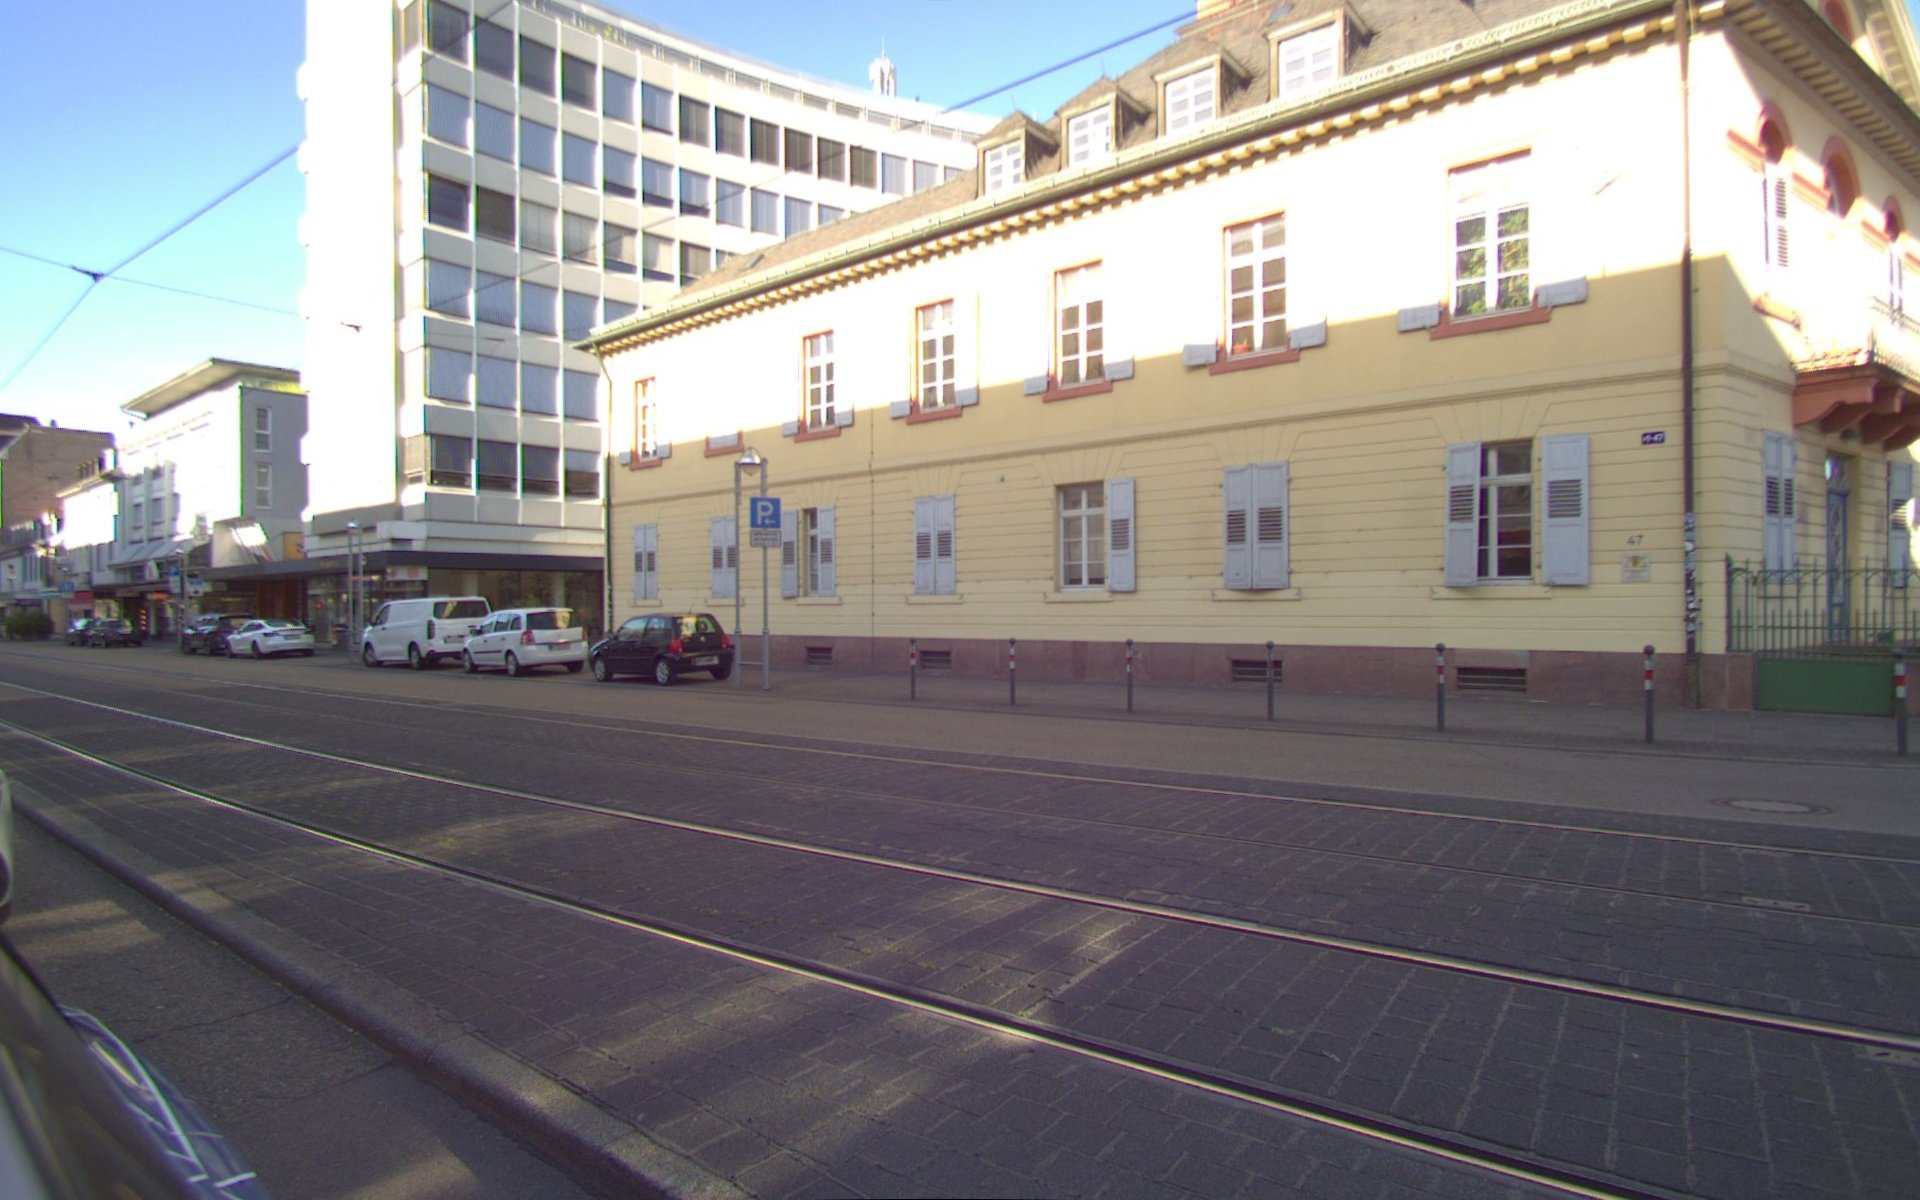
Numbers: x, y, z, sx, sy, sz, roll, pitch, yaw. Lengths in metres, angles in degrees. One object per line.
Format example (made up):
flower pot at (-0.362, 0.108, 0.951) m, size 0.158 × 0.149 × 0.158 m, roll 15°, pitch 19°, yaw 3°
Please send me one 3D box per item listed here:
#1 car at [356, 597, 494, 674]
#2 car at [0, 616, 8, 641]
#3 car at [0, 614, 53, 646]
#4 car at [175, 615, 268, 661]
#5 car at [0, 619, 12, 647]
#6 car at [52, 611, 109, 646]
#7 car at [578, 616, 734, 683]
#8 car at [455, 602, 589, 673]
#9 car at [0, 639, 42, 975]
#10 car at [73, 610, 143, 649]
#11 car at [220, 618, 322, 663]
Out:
car at (-15.361, 0.971, 28.957) m, size 4.619 × 2.029 × 2.014 m, roll -1°, pitch -1°, yaw 41°
car at (-78.853, 2.329, 81.944) m, size 3.995 × 2.029 × 1.974 m, roll -1°, pitch 0°, yaw 38°
car at (-62.852, 2.008, 68.034) m, size 3.996 × 2.058 × 2.172 m, roll -1°, pitch -1°, yaw 39°
car at (-29.915, 1.492, 40.969) m, size 4.103 × 1.717 × 1.975 m, roll -1°, pitch 0°, yaw 38°
car at (-71.250, 2.416, 74.329) m, size 3.998 × 2.029 × 1.973 m, roll -1°, pitch -1°, yaw 41°
car at (-50.286, 1.621, 57.835) m, size 3.994 × 1.896 × 1.768 m, roll -1°, pitch -1°, yaw 38°
car at (-6.472, 0.996, 21.442) m, size 3.210 × 1.263 × 1.667 m, roll -1°, pitch 0°, yaw 39°
car at (-11.027, 0.892, 25.351) m, size 4.005 × 1.621 × 1.619 m, roll -1°, pitch 0°, yaw 43°
car at (-6.104, 0.903, 4.782) m, size 3.992 × 1.393 × 1.862 m, roll -1°, pitch 0°, yaw 36°
car at (-43.787, 1.491, 52.003) m, size 3.995 × 1.874 × 1.974 m, roll -1°, pitch 0°, yaw 38°
car at (-25.648, 1.446, 37.616) m, size 4.369 × 1.541 × 1.974 m, roll -1°, pitch 0°, yaw 39°
